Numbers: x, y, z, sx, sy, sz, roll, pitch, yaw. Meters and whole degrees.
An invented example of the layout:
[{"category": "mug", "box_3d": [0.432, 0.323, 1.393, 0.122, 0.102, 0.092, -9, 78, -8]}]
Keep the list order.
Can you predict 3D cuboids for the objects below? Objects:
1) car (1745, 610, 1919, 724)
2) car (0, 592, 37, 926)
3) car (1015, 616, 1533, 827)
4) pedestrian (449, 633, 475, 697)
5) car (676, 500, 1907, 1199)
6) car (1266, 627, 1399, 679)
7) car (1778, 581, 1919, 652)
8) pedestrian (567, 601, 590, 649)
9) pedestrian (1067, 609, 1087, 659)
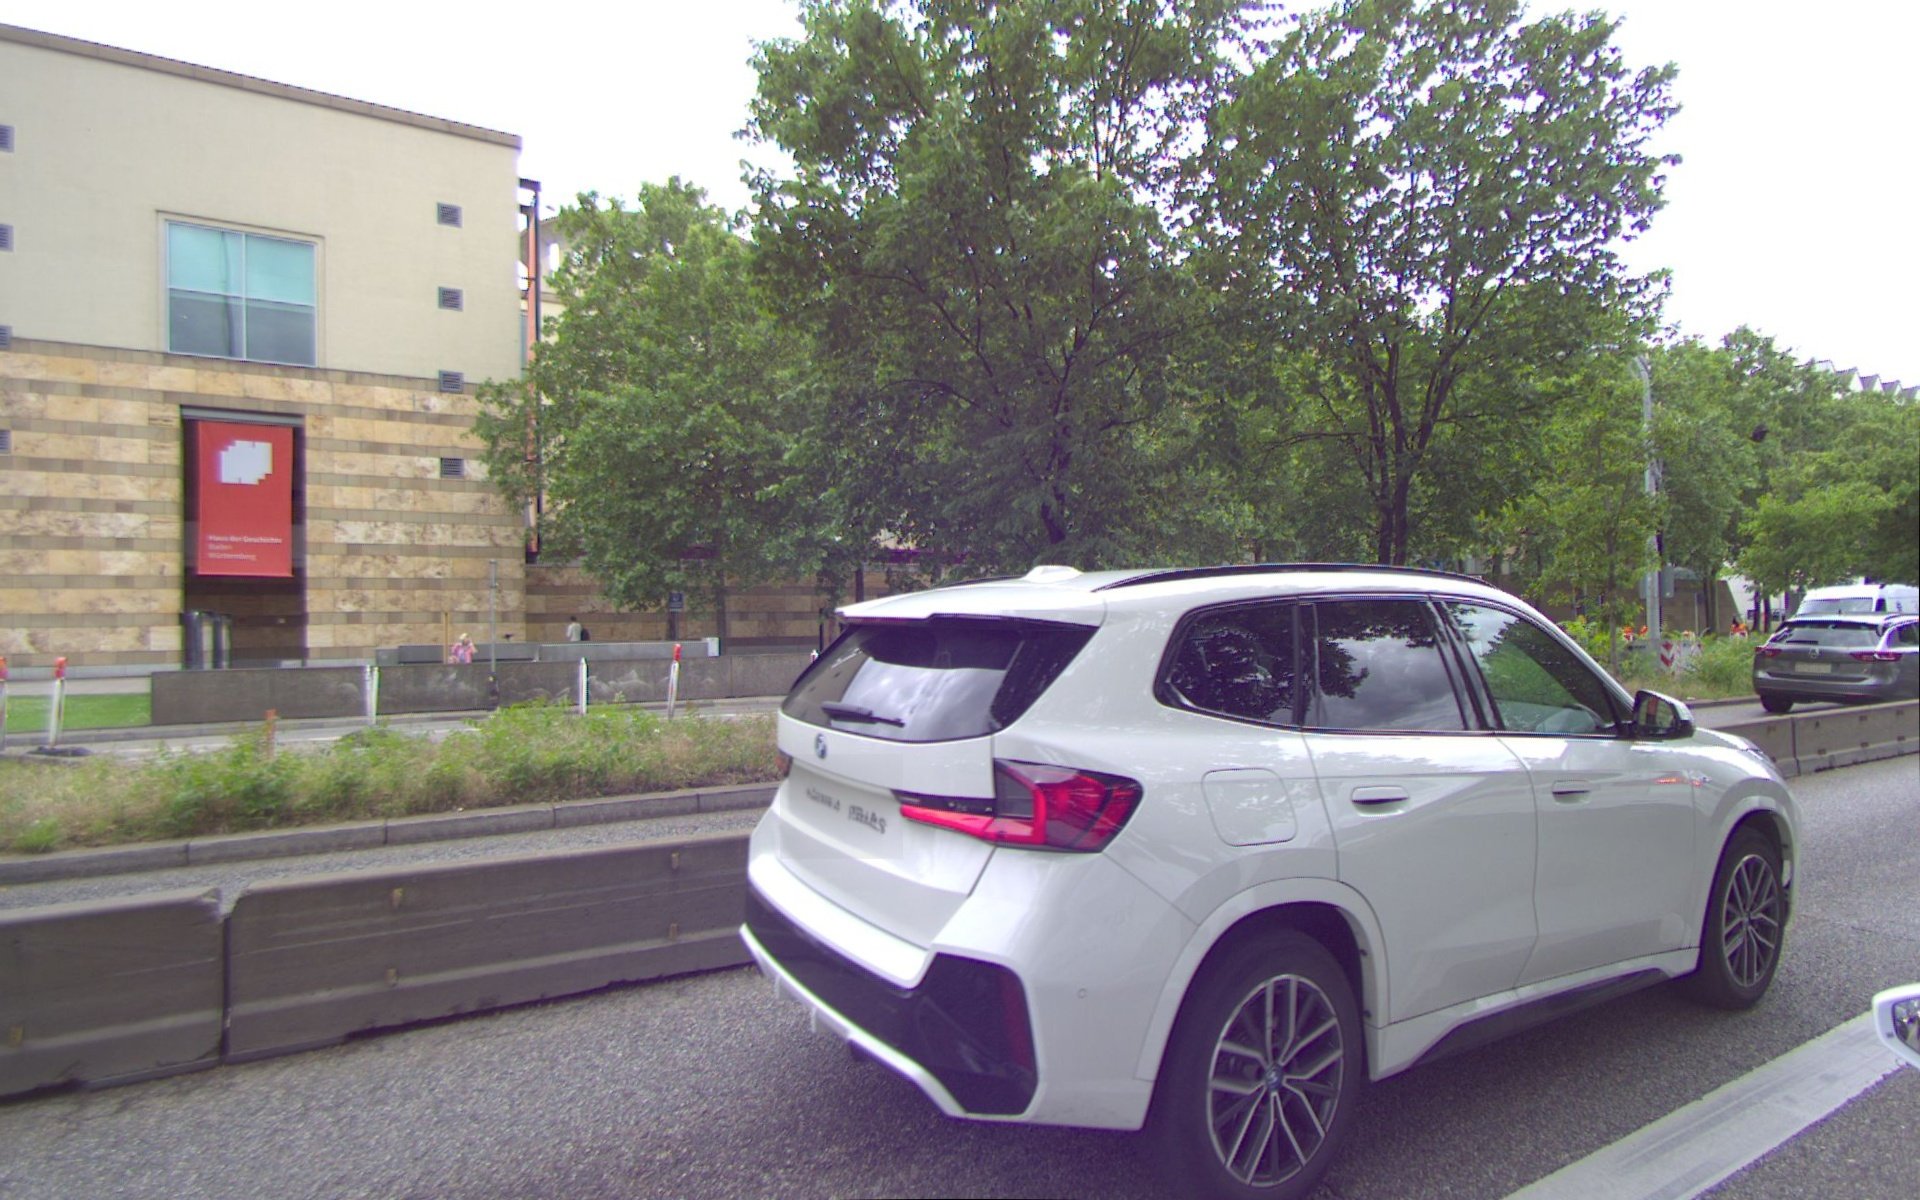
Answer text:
[{"category": "car", "box_3d": [13.217, 0.886, 14.518, 3.914, 1.455, 1.653, 1, -1, -31]}, {"category": "car", "box_3d": [-6.204, 0.702, 3.045, 4.715, 1.519, 1.807, 0, -1, -32]}, {"category": "car", "box_3d": [2.791, 0.847, 8.587, 4.490, 1.385, 1.670, 0, -1, -31]}, {"category": "pedestrian", "box_3d": [-12.359, 1.594, 24.931, 0.555, 1.552, 0.523, 0, -1, -28]}, {"category": "car", "box_3d": [1.558, 0.675, 3.927, 4.849, 1.649, 1.842, 1, -1, -30]}, {"category": "car", "box_3d": [12.232, 1.699, 32.931, 4.469, 1.547, 1.638, 0, -1, -30]}, {"category": "car", "box_3d": [27.391, 0.502, 30.544, 5.512, 1.995, 2.106, 0, -1, -30]}, {"category": "pedestrian", "box_3d": [-12.698, 0.832, 33.436, 0.616, 1.590, 0.434, 0, -1, -38]}, {"category": "pedestrian", "box_3d": [4.802, 1.385, 41.280, 0.657, 2.040, 0.449, 0, -1, -30]}]
